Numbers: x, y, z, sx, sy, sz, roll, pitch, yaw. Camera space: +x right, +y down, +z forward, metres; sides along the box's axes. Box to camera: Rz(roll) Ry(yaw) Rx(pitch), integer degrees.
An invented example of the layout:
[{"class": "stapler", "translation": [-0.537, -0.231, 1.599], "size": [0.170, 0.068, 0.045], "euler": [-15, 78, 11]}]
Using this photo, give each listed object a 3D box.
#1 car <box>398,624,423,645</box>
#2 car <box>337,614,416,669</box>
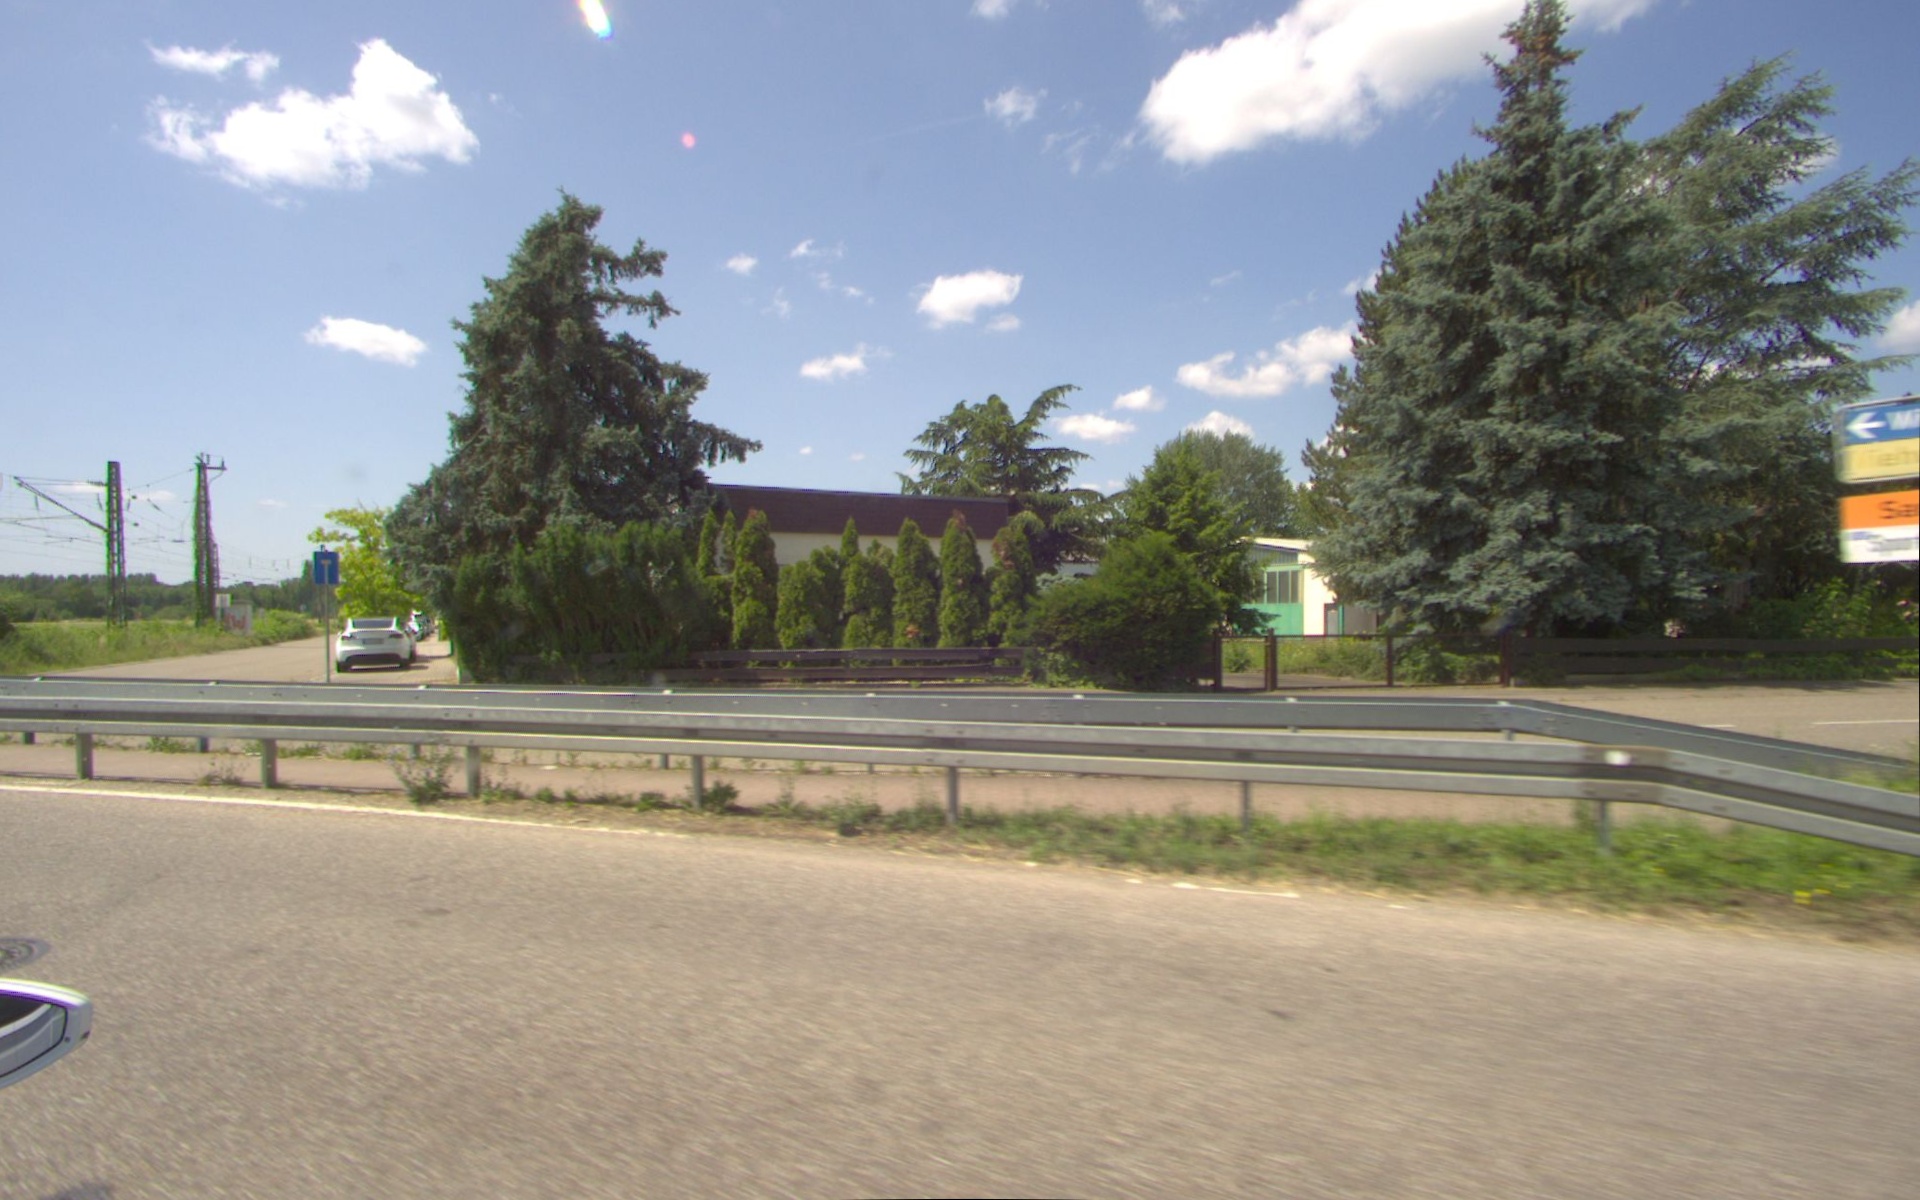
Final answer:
[{"class": "car", "translation": [-41.653, 2.609, 75.961], "size": [1.572, 1.472, 3.319], "euler": [0, -1, -27]}, {"class": "car", "translation": [-17.945, 1.220, 30.893], "size": [1.971, 1.529, 4.431], "euler": [0, 0, -30]}]
